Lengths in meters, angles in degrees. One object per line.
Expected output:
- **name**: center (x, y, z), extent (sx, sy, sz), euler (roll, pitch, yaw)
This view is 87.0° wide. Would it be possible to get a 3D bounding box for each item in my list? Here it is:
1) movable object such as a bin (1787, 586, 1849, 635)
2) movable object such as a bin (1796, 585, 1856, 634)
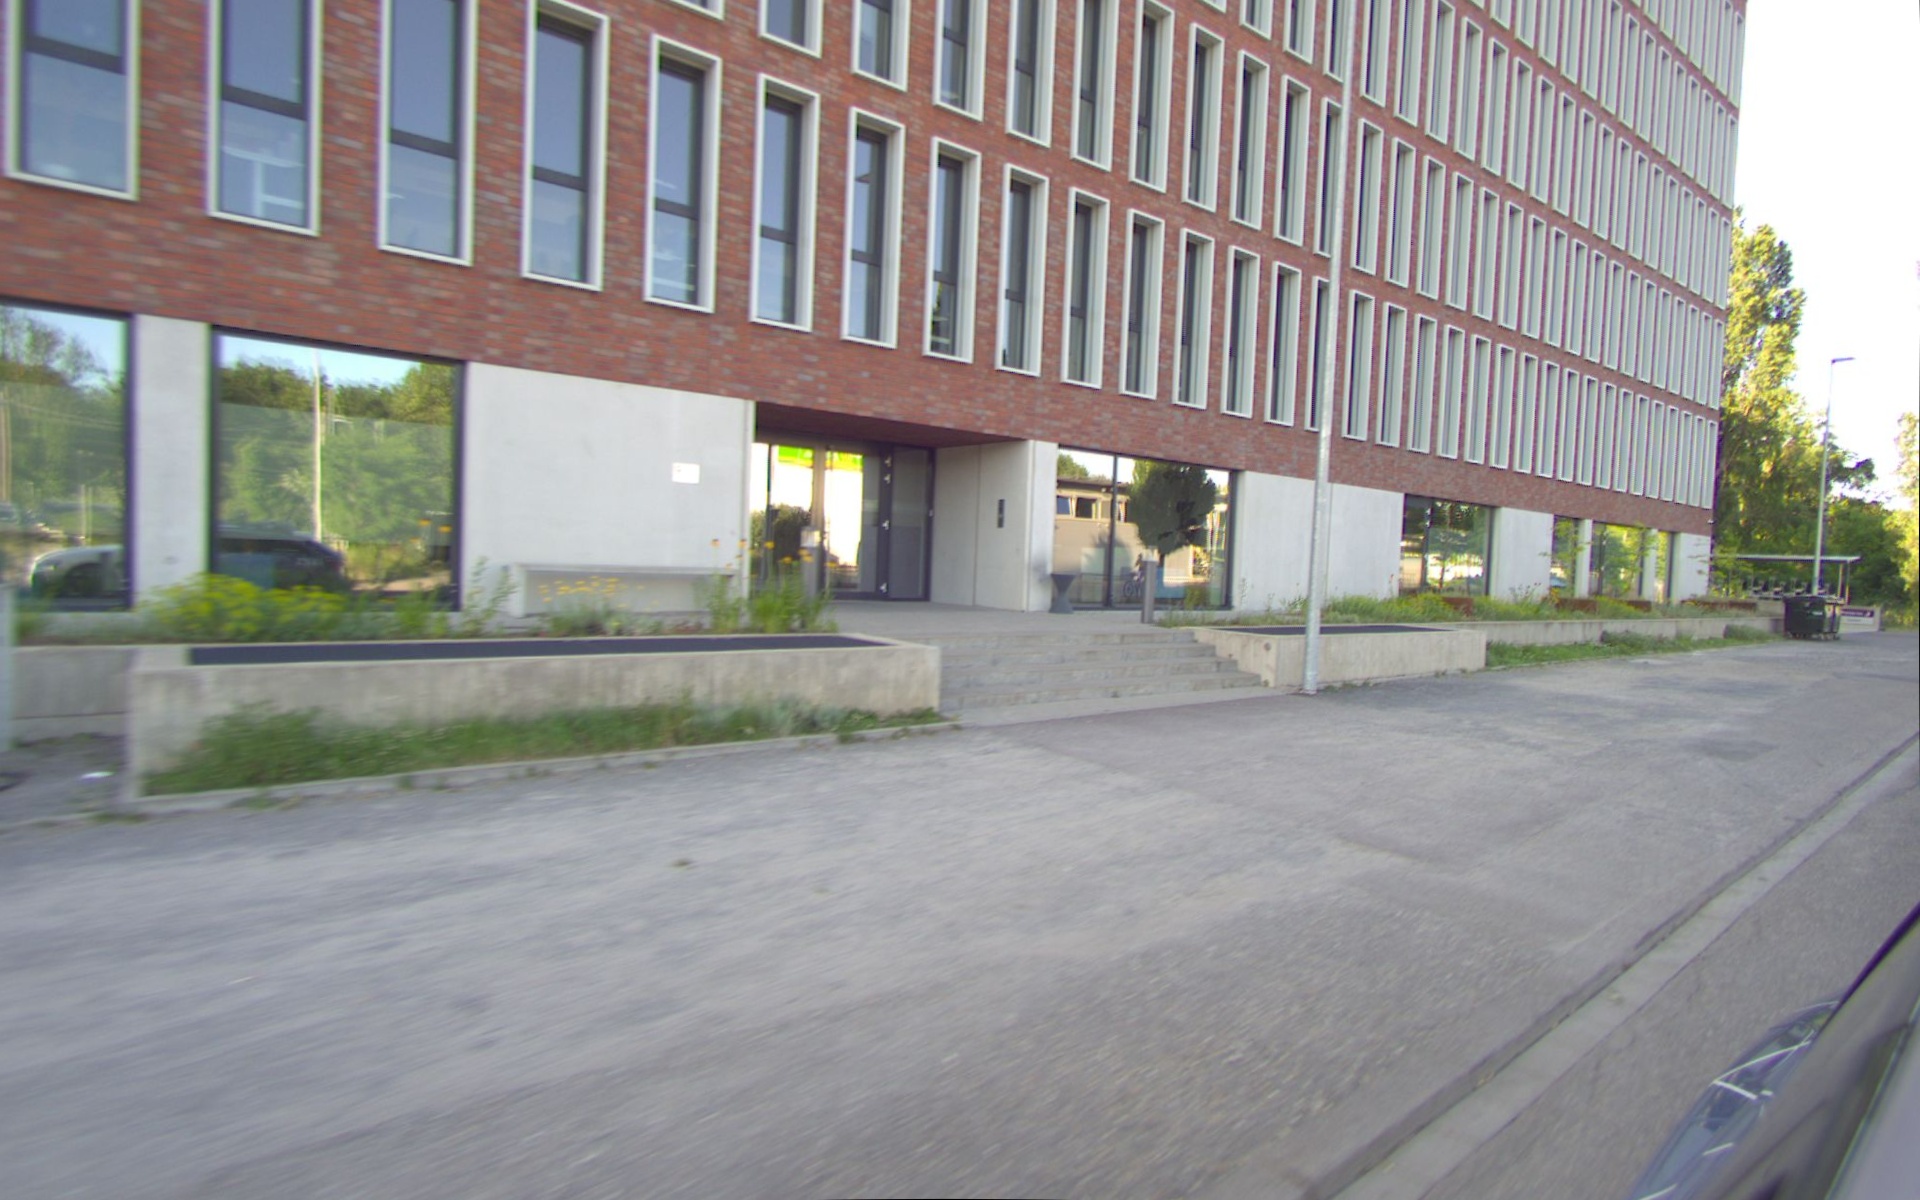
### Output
- **movable object such as a bin**: center (25.063, 0.298, 29.568), extent (1.322, 1.352, 1.131), euler (1, 3, -41)
- **movable object such as a bin**: center (26.143, 0.289, 30.556), extent (1.322, 1.388, 1.131), euler (1, 3, -41)
